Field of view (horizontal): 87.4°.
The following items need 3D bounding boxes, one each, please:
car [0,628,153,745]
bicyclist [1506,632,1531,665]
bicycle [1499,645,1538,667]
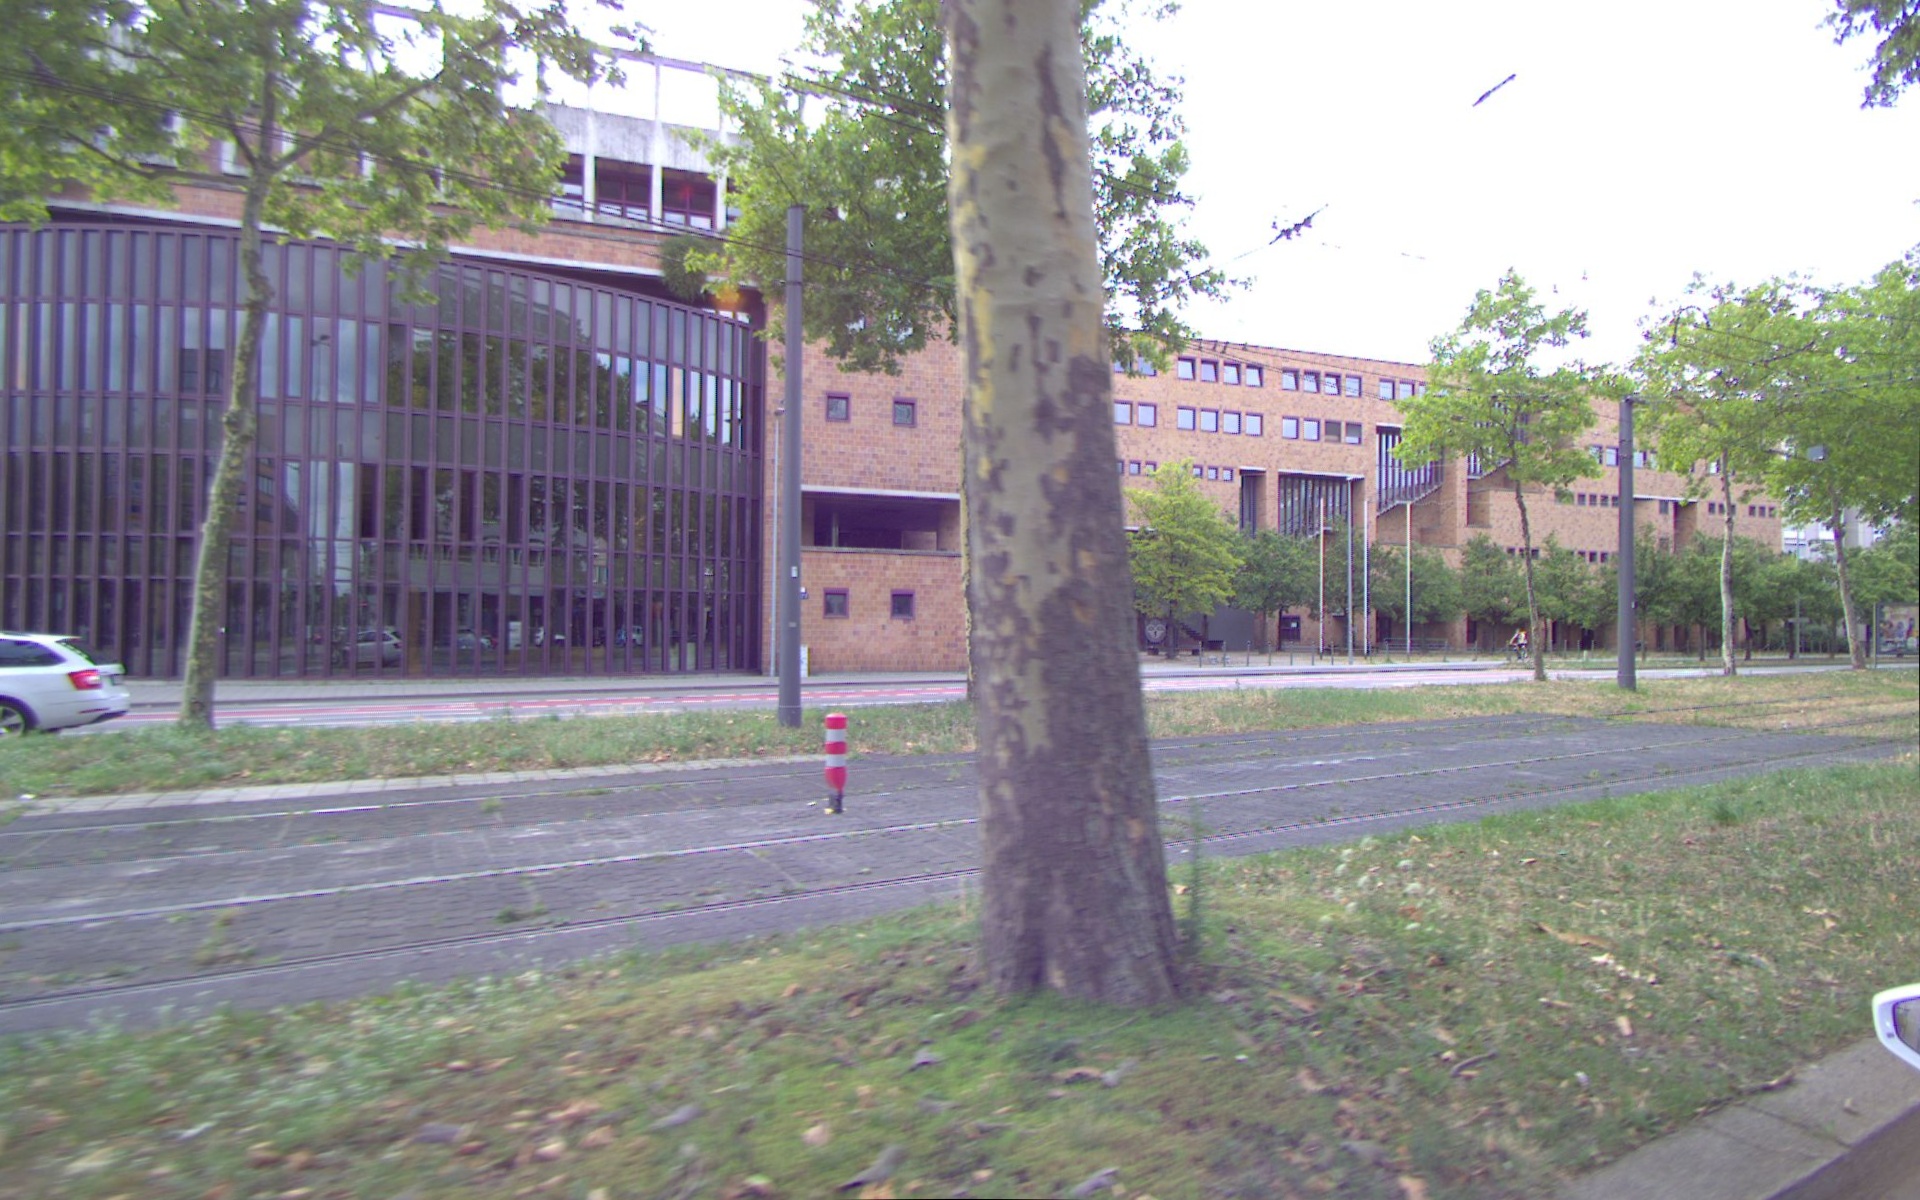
[{"bbox_3d":[-13.201,1.059,12.558,4.605,1.440,1.775,1,-2,-31],"label":"car"},{"bbox_3d":[27.816,2.407,50.032,0.971,1.611,0.662,1,-1,-27],"label":"bicyclist"},{"bbox_3d":[27.827,2.777,50.027,2.066,1.098,0.666,1,-2,-27],"label":"bicycle"}]
